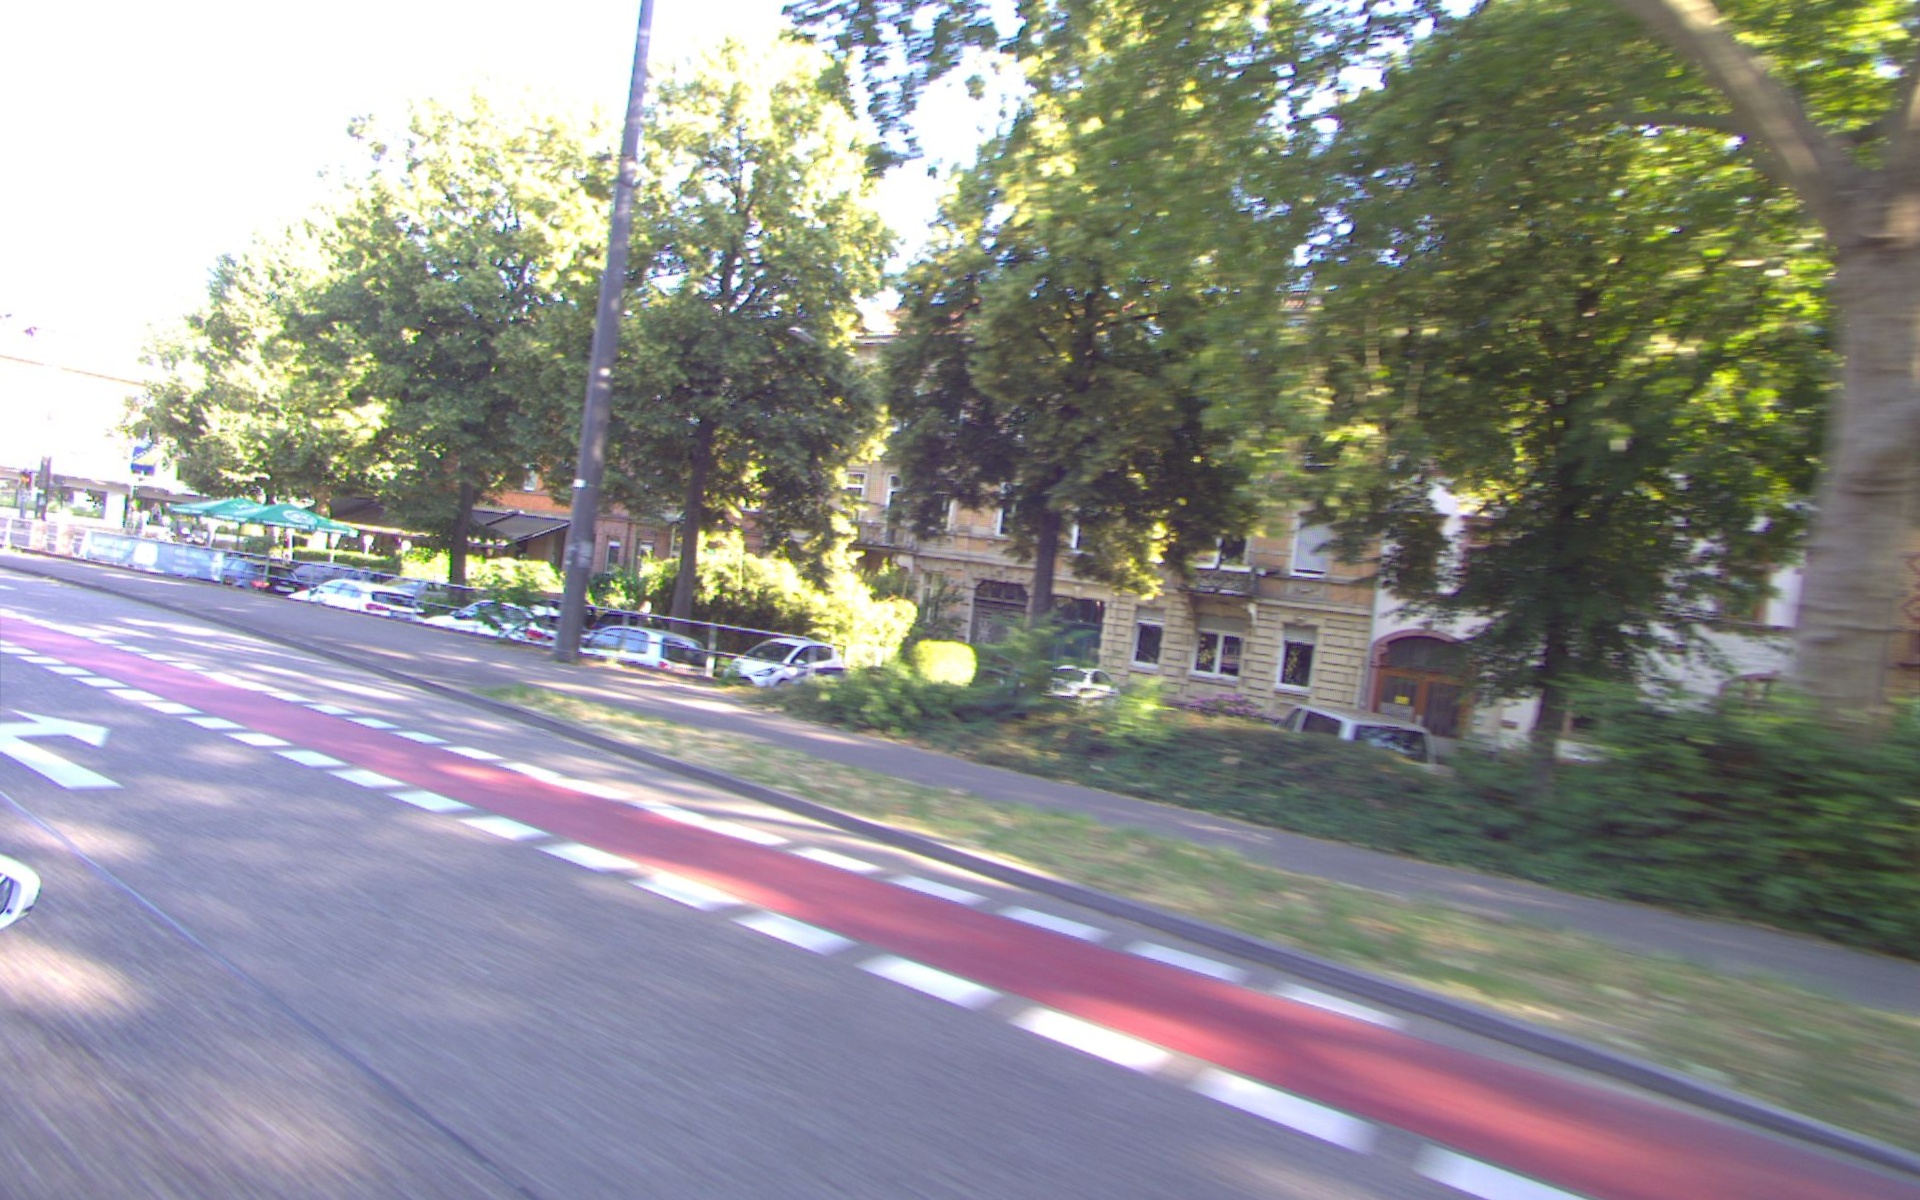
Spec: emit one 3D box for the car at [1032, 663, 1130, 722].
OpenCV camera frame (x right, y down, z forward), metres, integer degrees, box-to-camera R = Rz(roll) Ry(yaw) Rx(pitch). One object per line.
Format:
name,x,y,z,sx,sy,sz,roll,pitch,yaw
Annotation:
car,3.927,2.904,32.143,1.769,1.541,3.572,7,0,29

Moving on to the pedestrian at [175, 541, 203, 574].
pedestrian,-34.517,-1.900,45.053,0.621,1.352,0.650,7,-3,32

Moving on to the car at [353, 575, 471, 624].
car,-19.555,-0.031,36.110,1.929,1.424,4.246,7,0,-3

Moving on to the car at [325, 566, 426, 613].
car,-22.225,-0.414,38.422,1.769,1.498,3.994,7,0,-7

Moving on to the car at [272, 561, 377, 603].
car,-24.934,-0.695,39.656,1.747,1.365,3.995,7,0,-5

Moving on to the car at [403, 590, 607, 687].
car,-10.180,0.846,22.410,4.478,1.597,1.798,5,-2,31

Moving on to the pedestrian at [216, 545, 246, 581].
pedestrian,-30.412,-1.535,41.982,0.621,1.352,0.650,7,-3,32

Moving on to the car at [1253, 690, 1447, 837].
car,7.630,3.123,20.277,1.838,1.990,4.680,7,0,0

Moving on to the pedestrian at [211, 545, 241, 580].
pedestrian,-31.030,-1.586,42.535,0.621,1.352,0.650,7,-3,32

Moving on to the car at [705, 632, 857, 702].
car,-4.742,1.802,27.142,1.769,1.532,3.993,7,0,29

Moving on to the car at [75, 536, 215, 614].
car,-25.464,-0.790,31.417,4.285,1.920,1.798,6,-2,30

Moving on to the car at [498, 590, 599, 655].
car,-13.085,0.660,32.240,1.768,1.756,3.995,7,0,-6

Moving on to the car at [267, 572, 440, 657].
car,-15.299,0.351,25.327,4.369,1.597,1.798,5,-2,31

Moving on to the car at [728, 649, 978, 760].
car,-1.884,1.773,17.543,3.933,1.324,1.798,6,-2,30

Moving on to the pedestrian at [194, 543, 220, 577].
pedestrian,-31.969,-1.692,42.723,0.643,1.352,0.628,9,-3,-28

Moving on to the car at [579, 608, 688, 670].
car,-9.924,1.137,30.916,1.766,1.532,3.999,7,0,2

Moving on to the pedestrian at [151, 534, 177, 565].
pedestrian,-38.013,-2.412,48.035,0.621,1.352,0.650,7,-3,32

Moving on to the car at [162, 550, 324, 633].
car,-20.430,-0.246,28.659,4.136,1.823,1.800,6,-2,25

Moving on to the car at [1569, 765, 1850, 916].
car,12.631,4.002,17.325,1.658,1.470,3.923,7,0,-2

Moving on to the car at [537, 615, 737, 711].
car,-6.463,1.251,20.122,3.517,1.458,1.798,6,-2,30

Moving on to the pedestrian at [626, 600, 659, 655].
pedestrian,-10.848,0.950,34.331,0.621,1.767,0.649,7,0,27

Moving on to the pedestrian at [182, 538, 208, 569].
pedestrian,-36.731,-2.242,48.323,0.621,1.352,0.650,7,-3,32
